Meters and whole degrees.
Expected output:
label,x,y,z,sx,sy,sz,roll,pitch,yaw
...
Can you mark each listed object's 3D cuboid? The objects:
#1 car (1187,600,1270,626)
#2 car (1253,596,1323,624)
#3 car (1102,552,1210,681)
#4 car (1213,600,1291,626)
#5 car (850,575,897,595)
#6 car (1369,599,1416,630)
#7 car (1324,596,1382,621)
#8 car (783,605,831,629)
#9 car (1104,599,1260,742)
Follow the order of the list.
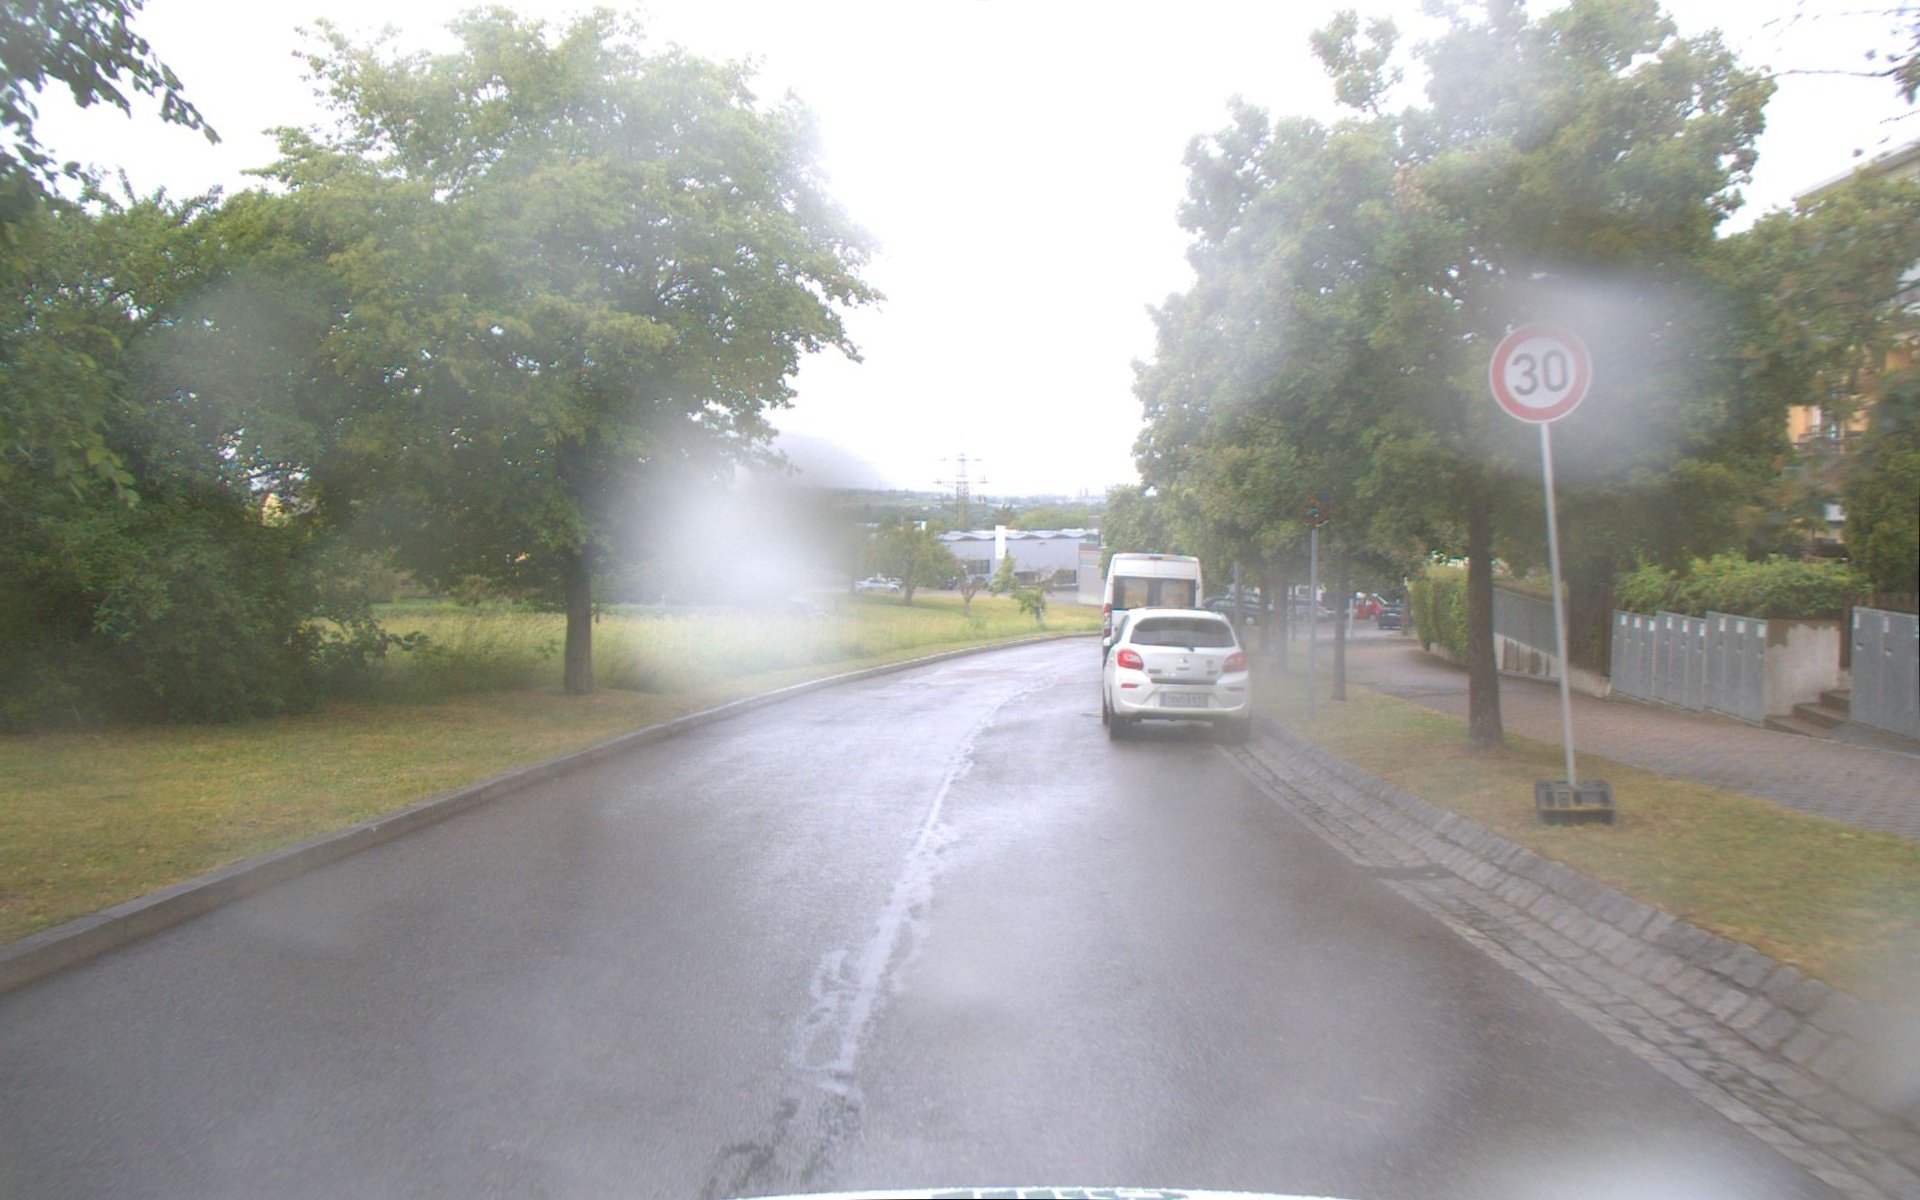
label,x,y,z,sx,sy,sz,roll,pitch,yaw
car,14.559,0.698,89.678,4.082,1.379,1.861,-1,0,24
car,19.575,0.575,98.791,3.792,1.574,1.773,1,0,23
car,4.228,0.314,35.481,2.073,2.510,5.514,1,0,7
car,16.106,0.697,91.322,3.907,1.384,1.853,-1,0,24
car,-8.522,-1.507,163.472,4.215,1.731,1.781,2,2,-29
car,24.032,0.790,91.866,1.655,1.579,3.691,2,2,29
car,26.219,0.570,110.291,3.492,1.634,1.691,-1,0,27
car,-10.970,1.202,118.737,1.760,1.624,3.952,0,2,-34
car,2.608,0.778,20.077,1.572,1.529,3.728,1,0,3
